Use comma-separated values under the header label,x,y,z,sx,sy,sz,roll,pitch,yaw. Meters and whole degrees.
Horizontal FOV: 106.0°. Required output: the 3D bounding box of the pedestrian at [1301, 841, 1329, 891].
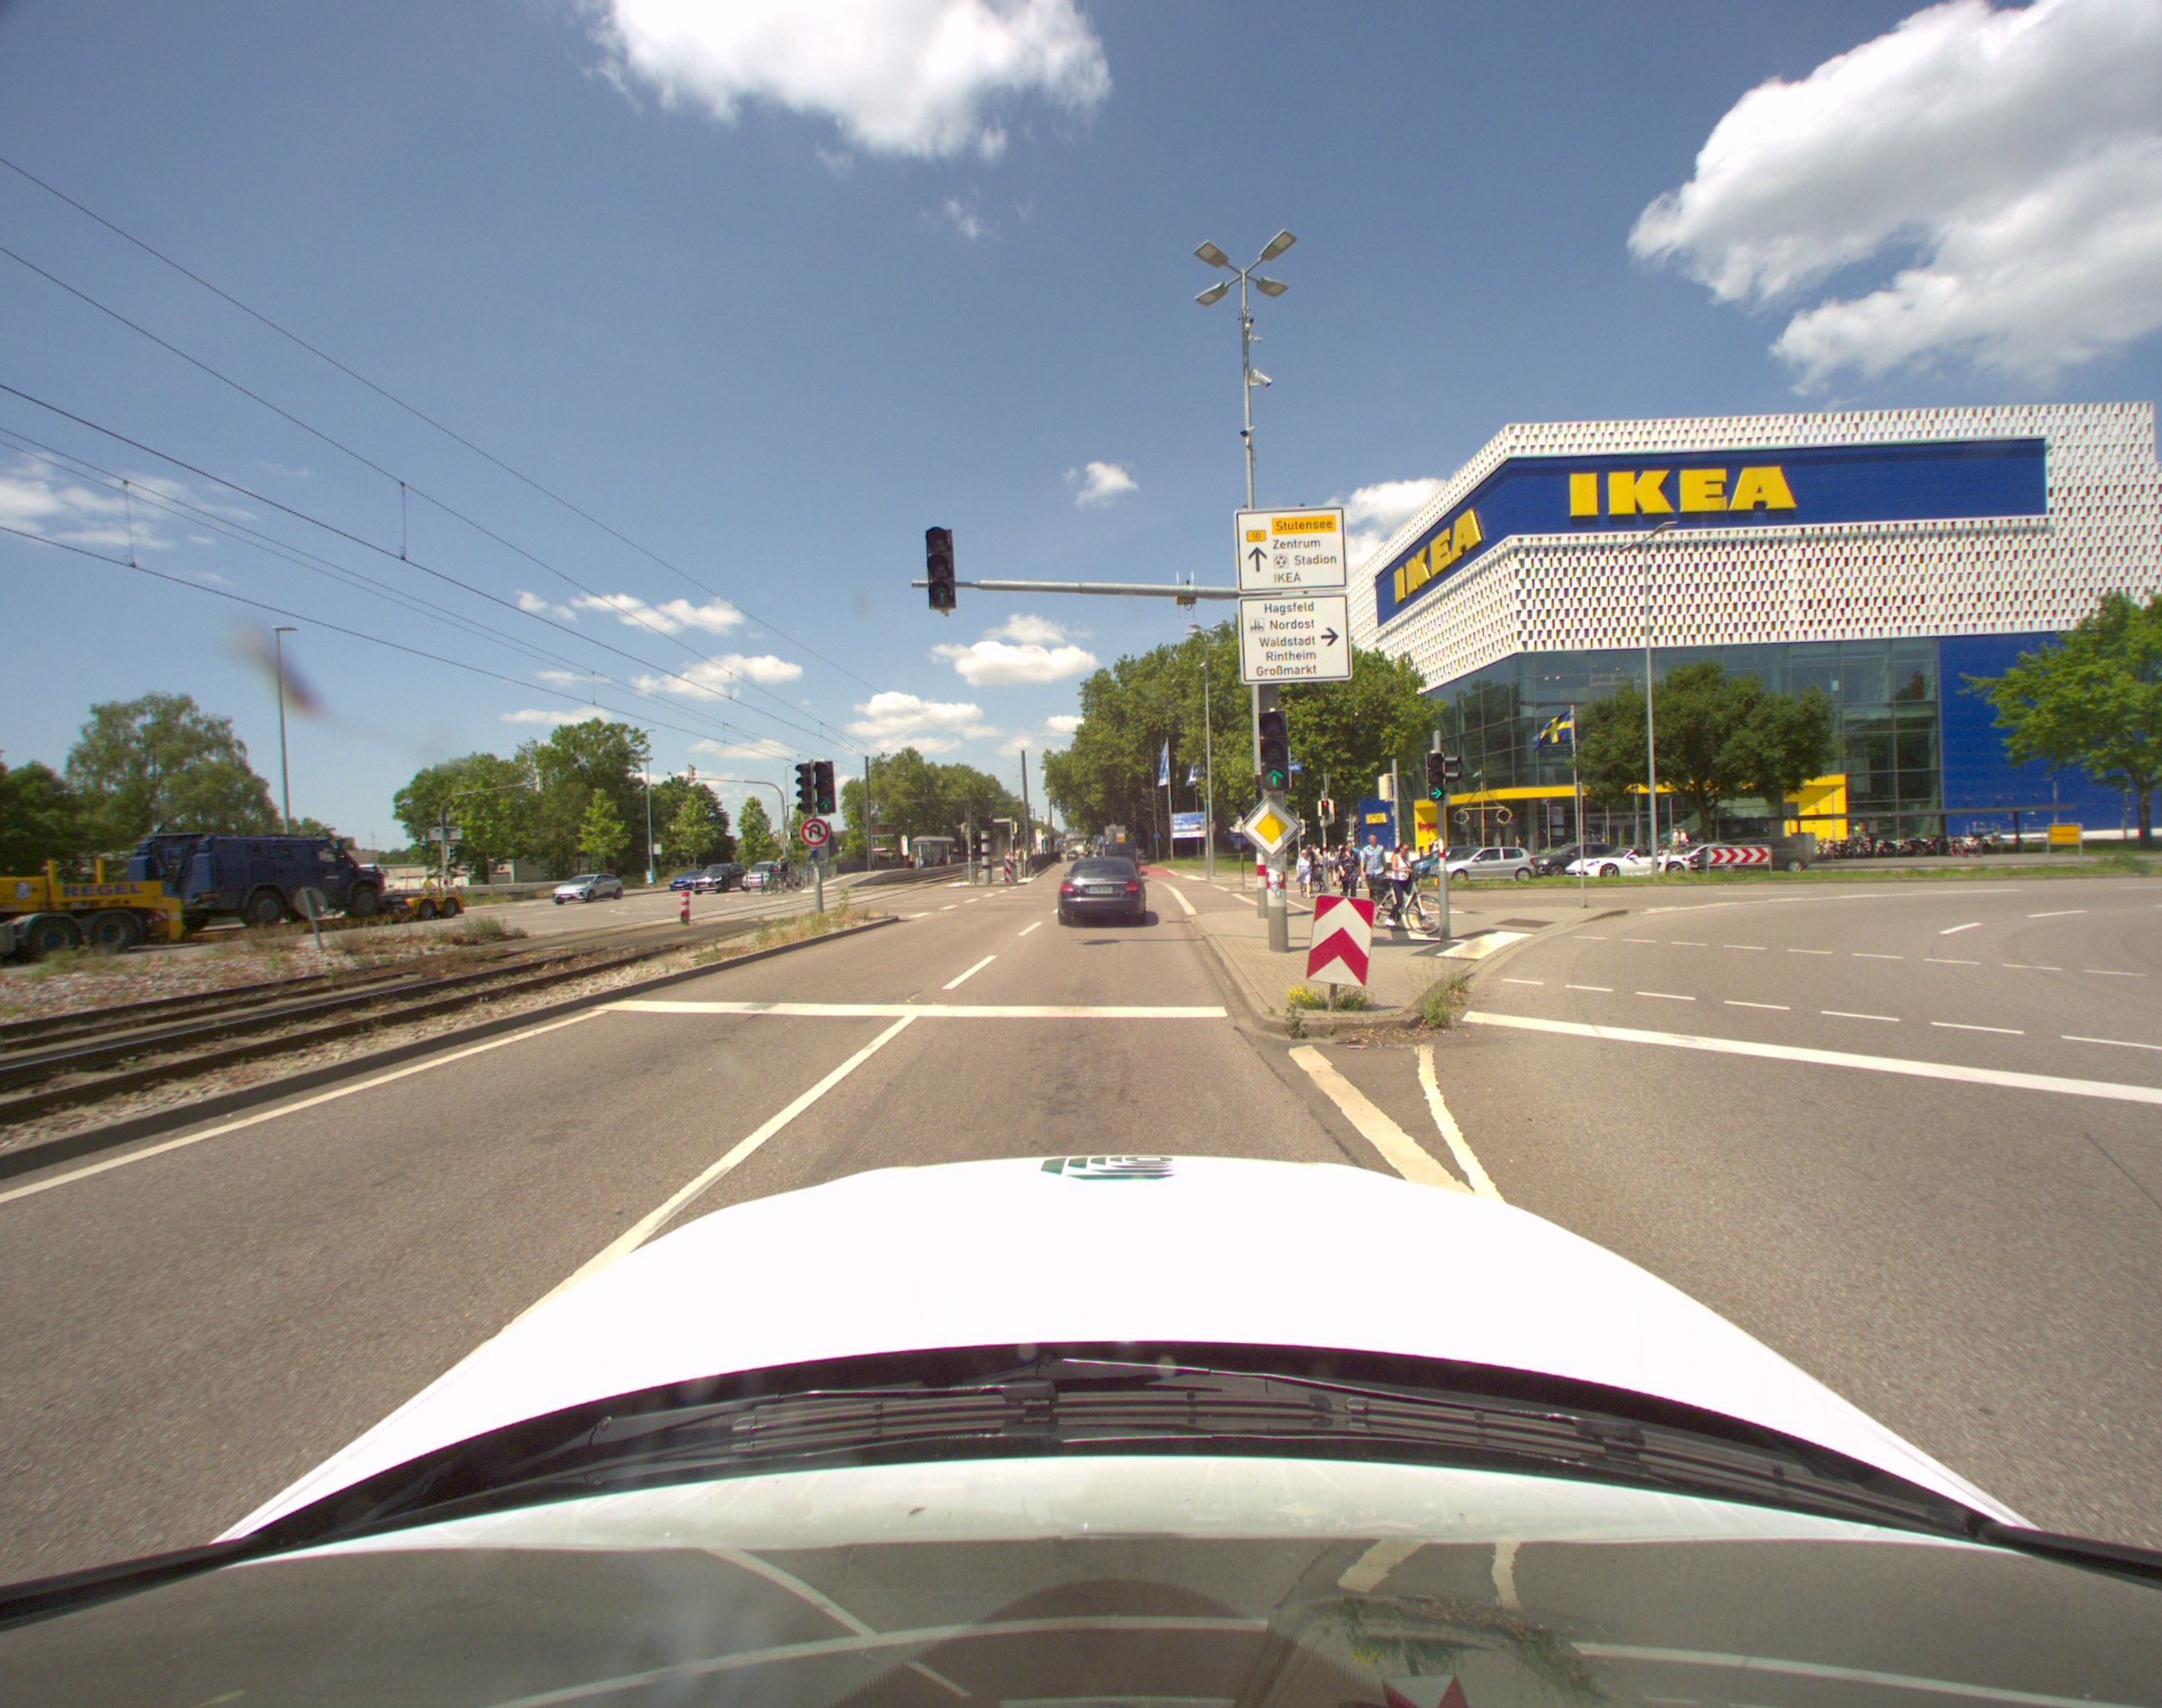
label,x,y,z,sx,sy,sz,roll,pitch,yaw
pedestrian,8.083,0.409,28.130,0.778,1.672,0.948,-1,0,7

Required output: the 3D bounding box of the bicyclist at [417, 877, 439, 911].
label,x,y,z,sx,sy,sz,roll,pitch,yaw
bicyclist,-31.607,1.916,39.425,0.582,1.610,0.545,-2,0,6

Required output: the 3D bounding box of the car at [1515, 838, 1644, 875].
label,x,y,z,sx,sy,sz,roll,pitch,yaw
car,21.269,0.088,34.857,4.387,1.443,1.852,-1,0,-1

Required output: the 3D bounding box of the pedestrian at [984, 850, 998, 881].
label,x,y,z,sx,sy,sz,roll,pitch,yaw
pedestrian,-4.956,0.621,44.833,0.730,1.673,0.678,-1,0,-4

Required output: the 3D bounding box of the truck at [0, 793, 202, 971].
label,x,y,z,sx,sy,sz,roll,pitch,yaw
truck,-26.071,0.655,19.076,3.121,4.038,7.462,-1,0,-5

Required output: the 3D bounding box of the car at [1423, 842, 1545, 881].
label,x,y,z,sx,sy,sz,roll,pitch,yaw
car,15.397,0.280,31.269,3.809,1.397,1.805,-1,0,2

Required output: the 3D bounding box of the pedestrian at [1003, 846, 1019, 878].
label,x,y,z,sx,sy,sz,roll,pitch,yaw
pedestrian,-4.090,0.454,47.631,0.861,1.802,0.882,-1,0,-4

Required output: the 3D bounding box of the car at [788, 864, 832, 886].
label,x,y,z,sx,sy,sz,roll,pitch,yaw
car,-21.213,1.621,63.858,1.986,1.629,4.001,-1,0,1

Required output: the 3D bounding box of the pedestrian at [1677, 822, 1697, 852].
label,x,y,z,sx,sy,sz,roll,pitch,yaw
pedestrian,41.738,-1.194,56.072,0.792,2.013,0.734,-2,0,8

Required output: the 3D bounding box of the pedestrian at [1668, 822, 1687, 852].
label,x,y,z,sx,sy,sz,roll,pitch,yaw
pedestrian,41.853,-1.194,57.138,0.792,2.013,0.735,-2,0,12

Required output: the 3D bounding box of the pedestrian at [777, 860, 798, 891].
label,x,y,z,sx,sy,sz,roll,pitch,yaw
pedestrian,-15.009,1.084,41.646,0.760,1.548,0.763,-2,0,-3

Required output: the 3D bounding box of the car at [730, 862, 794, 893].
label,x,y,z,sx,sy,sz,roll,pitch,yaw
car,-18.212,1.297,46.664,1.986,1.629,4.001,-1,0,1

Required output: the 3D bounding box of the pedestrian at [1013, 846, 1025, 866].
label,x,y,z,sx,sy,sz,roll,pitch,yaw
pedestrian,-5.083,0.145,66.673,0.888,1.605,0.924,-2,0,-1

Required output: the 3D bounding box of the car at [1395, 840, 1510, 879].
label,x,y,z,sx,sy,sz,roll,pitch,yaw
car,15.710,0.224,34.543,3.976,1.555,1.999,-1,0,-2

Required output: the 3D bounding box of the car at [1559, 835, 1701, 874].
label,x,y,z,sx,sy,sz,roll,pitch,yaw
car,21.053,0.014,31.344,4.200,1.398,1.806,-1,0,4

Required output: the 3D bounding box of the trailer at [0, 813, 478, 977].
label,x,y,z,sx,sy,sz,roll,pitch,yaw
trailer,-26.680,0.953,26.867,3.109,3.870,15.458,-1,0,-4

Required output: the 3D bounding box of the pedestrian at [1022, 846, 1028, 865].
label,x,y,z,sx,sy,sz,roll,pitch,yaw
pedestrian,-4.712,0.162,68.478,0.496,1.577,0.557,-2,0,-2

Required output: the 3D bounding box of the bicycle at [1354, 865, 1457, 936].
label,x,y,z,sx,sy,sz,roll,pitch,yaw
bicycle,6.004,0.821,15.177,0.830,1.162,1.869,-1,2,-15

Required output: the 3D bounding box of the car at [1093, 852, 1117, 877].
label,x,y,z,sx,sy,sz,roll,pitch,yaw
car,1.899,0.801,64.808,1.841,1.959,4.146,-1,0,2

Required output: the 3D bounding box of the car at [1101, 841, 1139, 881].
label,x,y,z,sx,sy,sz,roll,pitch,yaw
car,1.969,0.343,42.192,1.841,1.959,4.146,-1,0,2

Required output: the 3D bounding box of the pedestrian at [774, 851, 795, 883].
label,x,y,z,sx,sy,sz,roll,pitch,yaw
pedestrian,-15.678,0.676,43.067,0.760,1.672,0.763,-2,0,-3

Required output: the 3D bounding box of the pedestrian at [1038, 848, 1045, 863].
label,x,y,z,sx,sy,sz,roll,pitch,yaw
pedestrian,-4.357,0.184,90.261,0.730,1.665,0.742,-2,0,-1

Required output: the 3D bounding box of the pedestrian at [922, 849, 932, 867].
label,x,y,z,sx,sy,sz,roll,pitch,yaw
pedestrian,-14.955,0.425,79.040,0.729,1.729,0.582,-2,0,37

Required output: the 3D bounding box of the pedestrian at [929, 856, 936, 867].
label,x,y,z,sx,sy,sz,roll,pitch,yaw
pedestrian,-15.189,0.754,83.132,0.574,1.094,0.639,-2,0,0

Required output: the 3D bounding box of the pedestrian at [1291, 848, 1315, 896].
label,x,y,z,sx,sy,sz,roll,pitch,yaw
pedestrian,6.927,0.556,25.453,0.586,1.476,0.807,0,0,6

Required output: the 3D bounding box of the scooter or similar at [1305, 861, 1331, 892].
label,x,y,z,sx,sy,sz,roll,pitch,yaw
scooter or similar,8.022,0.751,27.591,0.685,1.031,0.865,-1,0,8

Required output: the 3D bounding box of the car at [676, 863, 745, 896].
label,x,y,z,sx,sy,sz,roll,pitch,yaw
car,-20.860,1.386,46.070,1.986,1.629,4.001,-2,1,1

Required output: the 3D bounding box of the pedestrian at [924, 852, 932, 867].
label,x,y,z,sx,sy,sz,roll,pitch,yaw
pedestrian,-15.270,0.533,81.250,0.574,1.533,0.639,-2,0,0

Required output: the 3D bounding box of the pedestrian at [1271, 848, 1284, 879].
label,x,y,z,sx,sy,sz,roll,pitch,yaw
pedestrian,10.020,0.473,41.510,0.524,1.580,0.613,-1,0,4

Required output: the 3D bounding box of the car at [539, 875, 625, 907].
label,x,y,z,sx,sy,sz,roll,pitch,yaw
car,-26.856,1.945,43.983,1.987,1.463,4.277,-1,0,0

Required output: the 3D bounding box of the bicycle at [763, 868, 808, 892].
label,x,y,z,sx,sy,sz,roll,pitch,yaw
bicycle,-14.301,1.259,39.458,1.975,1.101,0.760,-1,0,-16

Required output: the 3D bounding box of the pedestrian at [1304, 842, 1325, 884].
label,x,y,z,sx,sy,sz,roll,pitch,yaw
pedestrian,9.548,0.358,33.269,0.789,1.659,0.856,-1,0,17

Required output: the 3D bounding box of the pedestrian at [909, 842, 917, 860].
label,x,y,z,sx,sy,sz,roll,pitch,yaw
pedestrian,-15.145,-0.295,73.466,0.556,1.638,0.804,-2,0,-7

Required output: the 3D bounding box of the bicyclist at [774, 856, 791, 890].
label,x,y,z,sx,sy,sz,roll,pitch,yaw
bicyclist,-14.447,0.913,39.401,0.665,1.615,0.729,-1,0,-16

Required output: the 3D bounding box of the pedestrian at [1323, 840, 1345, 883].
label,x,y,z,sx,sy,sz,roll,pitch,yaw
pedestrian,10.094,0.290,32.441,0.789,1.659,0.856,-1,0,17

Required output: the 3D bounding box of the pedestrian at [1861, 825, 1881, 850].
label,x,y,z,sx,sy,sz,roll,pitch,yaw
pedestrian,52.842,-1.099,54.466,0.765,1.586,0.579,-2,0,-6

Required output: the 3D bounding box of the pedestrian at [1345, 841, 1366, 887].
label,x,y,z,sx,sy,sz,roll,pitch,yaw
pedestrian,10.038,0.356,29.795,0.598,1.638,0.867,-1,-1,14

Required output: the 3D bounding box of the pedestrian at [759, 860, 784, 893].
label,x,y,z,sx,sy,sz,roll,pitch,yaw
pedestrian,-15.461,1.126,40.685,0.954,1.610,0.763,-2,0,-3

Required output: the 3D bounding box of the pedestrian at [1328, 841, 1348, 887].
label,x,y,z,sx,sy,sz,roll,pitch,yaw
pedestrian,9.439,0.364,29.939,0.601,1.638,0.867,-1,-1,14

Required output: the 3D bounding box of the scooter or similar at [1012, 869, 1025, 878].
label,x,y,z,sx,sy,sz,roll,pitch,yaw
scooter or similar,-3.658,1.154,47.747,0.725,0.506,0.457,-2,1,-4

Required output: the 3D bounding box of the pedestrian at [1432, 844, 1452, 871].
label,x,y,z,sx,sy,sz,roll,pitch,yaw
pedestrian,22.155,0.211,49.976,0.916,1.586,0.632,-2,0,-6

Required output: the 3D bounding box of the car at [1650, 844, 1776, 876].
label,x,y,z,sx,sy,sz,roll,pitch,yaw
car,29.466,0.277,38.073,4.383,1.398,1.864,-1,0,2

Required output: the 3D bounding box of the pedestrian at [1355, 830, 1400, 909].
label,x,y,z,sx,sy,sz,roll,pitch,yaw
pedestrian,7.136,0.366,19.634,0.800,1.865,0.798,-1,0,4

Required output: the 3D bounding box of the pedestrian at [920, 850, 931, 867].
label,x,y,z,sx,sy,sz,roll,pitch,yaw
pedestrian,-15.343,0.480,80.478,0.817,1.638,0.582,-2,0,37

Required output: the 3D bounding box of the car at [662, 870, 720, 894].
label,x,y,z,sx,sy,sz,roll,pitch,yaw
car,-27.415,1.925,57.450,1.988,1.444,4.348,-1,0,-1

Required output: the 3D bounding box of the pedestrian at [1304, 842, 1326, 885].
label,x,y,z,sx,sy,sz,roll,pitch,yaw
pedestrian,9.264,0.362,32.198,0.789,1.659,0.856,-1,0,17

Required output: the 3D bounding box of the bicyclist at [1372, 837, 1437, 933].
label,x,y,z,sx,sy,sz,roll,pitch,yaw
bicyclist,6.007,0.552,15.164,0.815,1.700,0.795,-1,2,-16

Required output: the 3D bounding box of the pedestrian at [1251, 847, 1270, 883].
label,x,y,z,sx,sy,sz,roll,pitch,yaw
pedestrian,8.136,0.478,36.878,0.759,1.606,0.900,-1,0,17

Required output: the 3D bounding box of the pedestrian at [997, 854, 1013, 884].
label,x,y,z,sx,sy,sz,roll,pitch,yaw
pedestrian,-4.045,0.791,43.352,0.783,1.572,0.764,-1,0,-4

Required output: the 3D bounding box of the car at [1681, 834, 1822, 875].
label,x,y,z,sx,sy,sz,roll,pitch,yaw
car,28.398,0.018,34.599,4.383,1.584,1.864,-1,0,2

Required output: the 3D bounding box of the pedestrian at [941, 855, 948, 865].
label,x,y,z,sx,sy,sz,roll,pitch,yaw
pedestrian,-15.193,0.667,90.730,0.574,1.190,0.639,-2,0,0

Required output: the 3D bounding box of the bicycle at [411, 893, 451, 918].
label,x,y,z,sx,sy,sz,roll,pitch,yaw
bicycle,-31.435,2.488,39.400,1.521,1.193,0.591,-1,0,7

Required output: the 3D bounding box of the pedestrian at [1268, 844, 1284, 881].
label,x,y,z,sx,sy,sz,roll,pitch,yaw
pedestrian,8.966,0.388,37.364,0.618,1.683,0.729,-1,0,17

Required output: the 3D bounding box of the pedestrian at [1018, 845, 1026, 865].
label,x,y,z,sx,sy,sz,roll,pitch,yaw
pedestrian,-5.097,0.059,69.962,0.612,1.681,0.719,-1,0,-2

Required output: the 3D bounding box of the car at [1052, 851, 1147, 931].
label,x,y,z,sx,sy,sz,roll,pitch,yaw
car,0.475,0.720,18.056,1.835,1.484,4.004,-1,1,3

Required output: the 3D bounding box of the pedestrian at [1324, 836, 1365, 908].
label,x,y,z,sx,sy,sz,roll,pitch,yaw
pedestrian,6.627,0.434,20.496,0.800,1.759,0.798,-1,0,4
